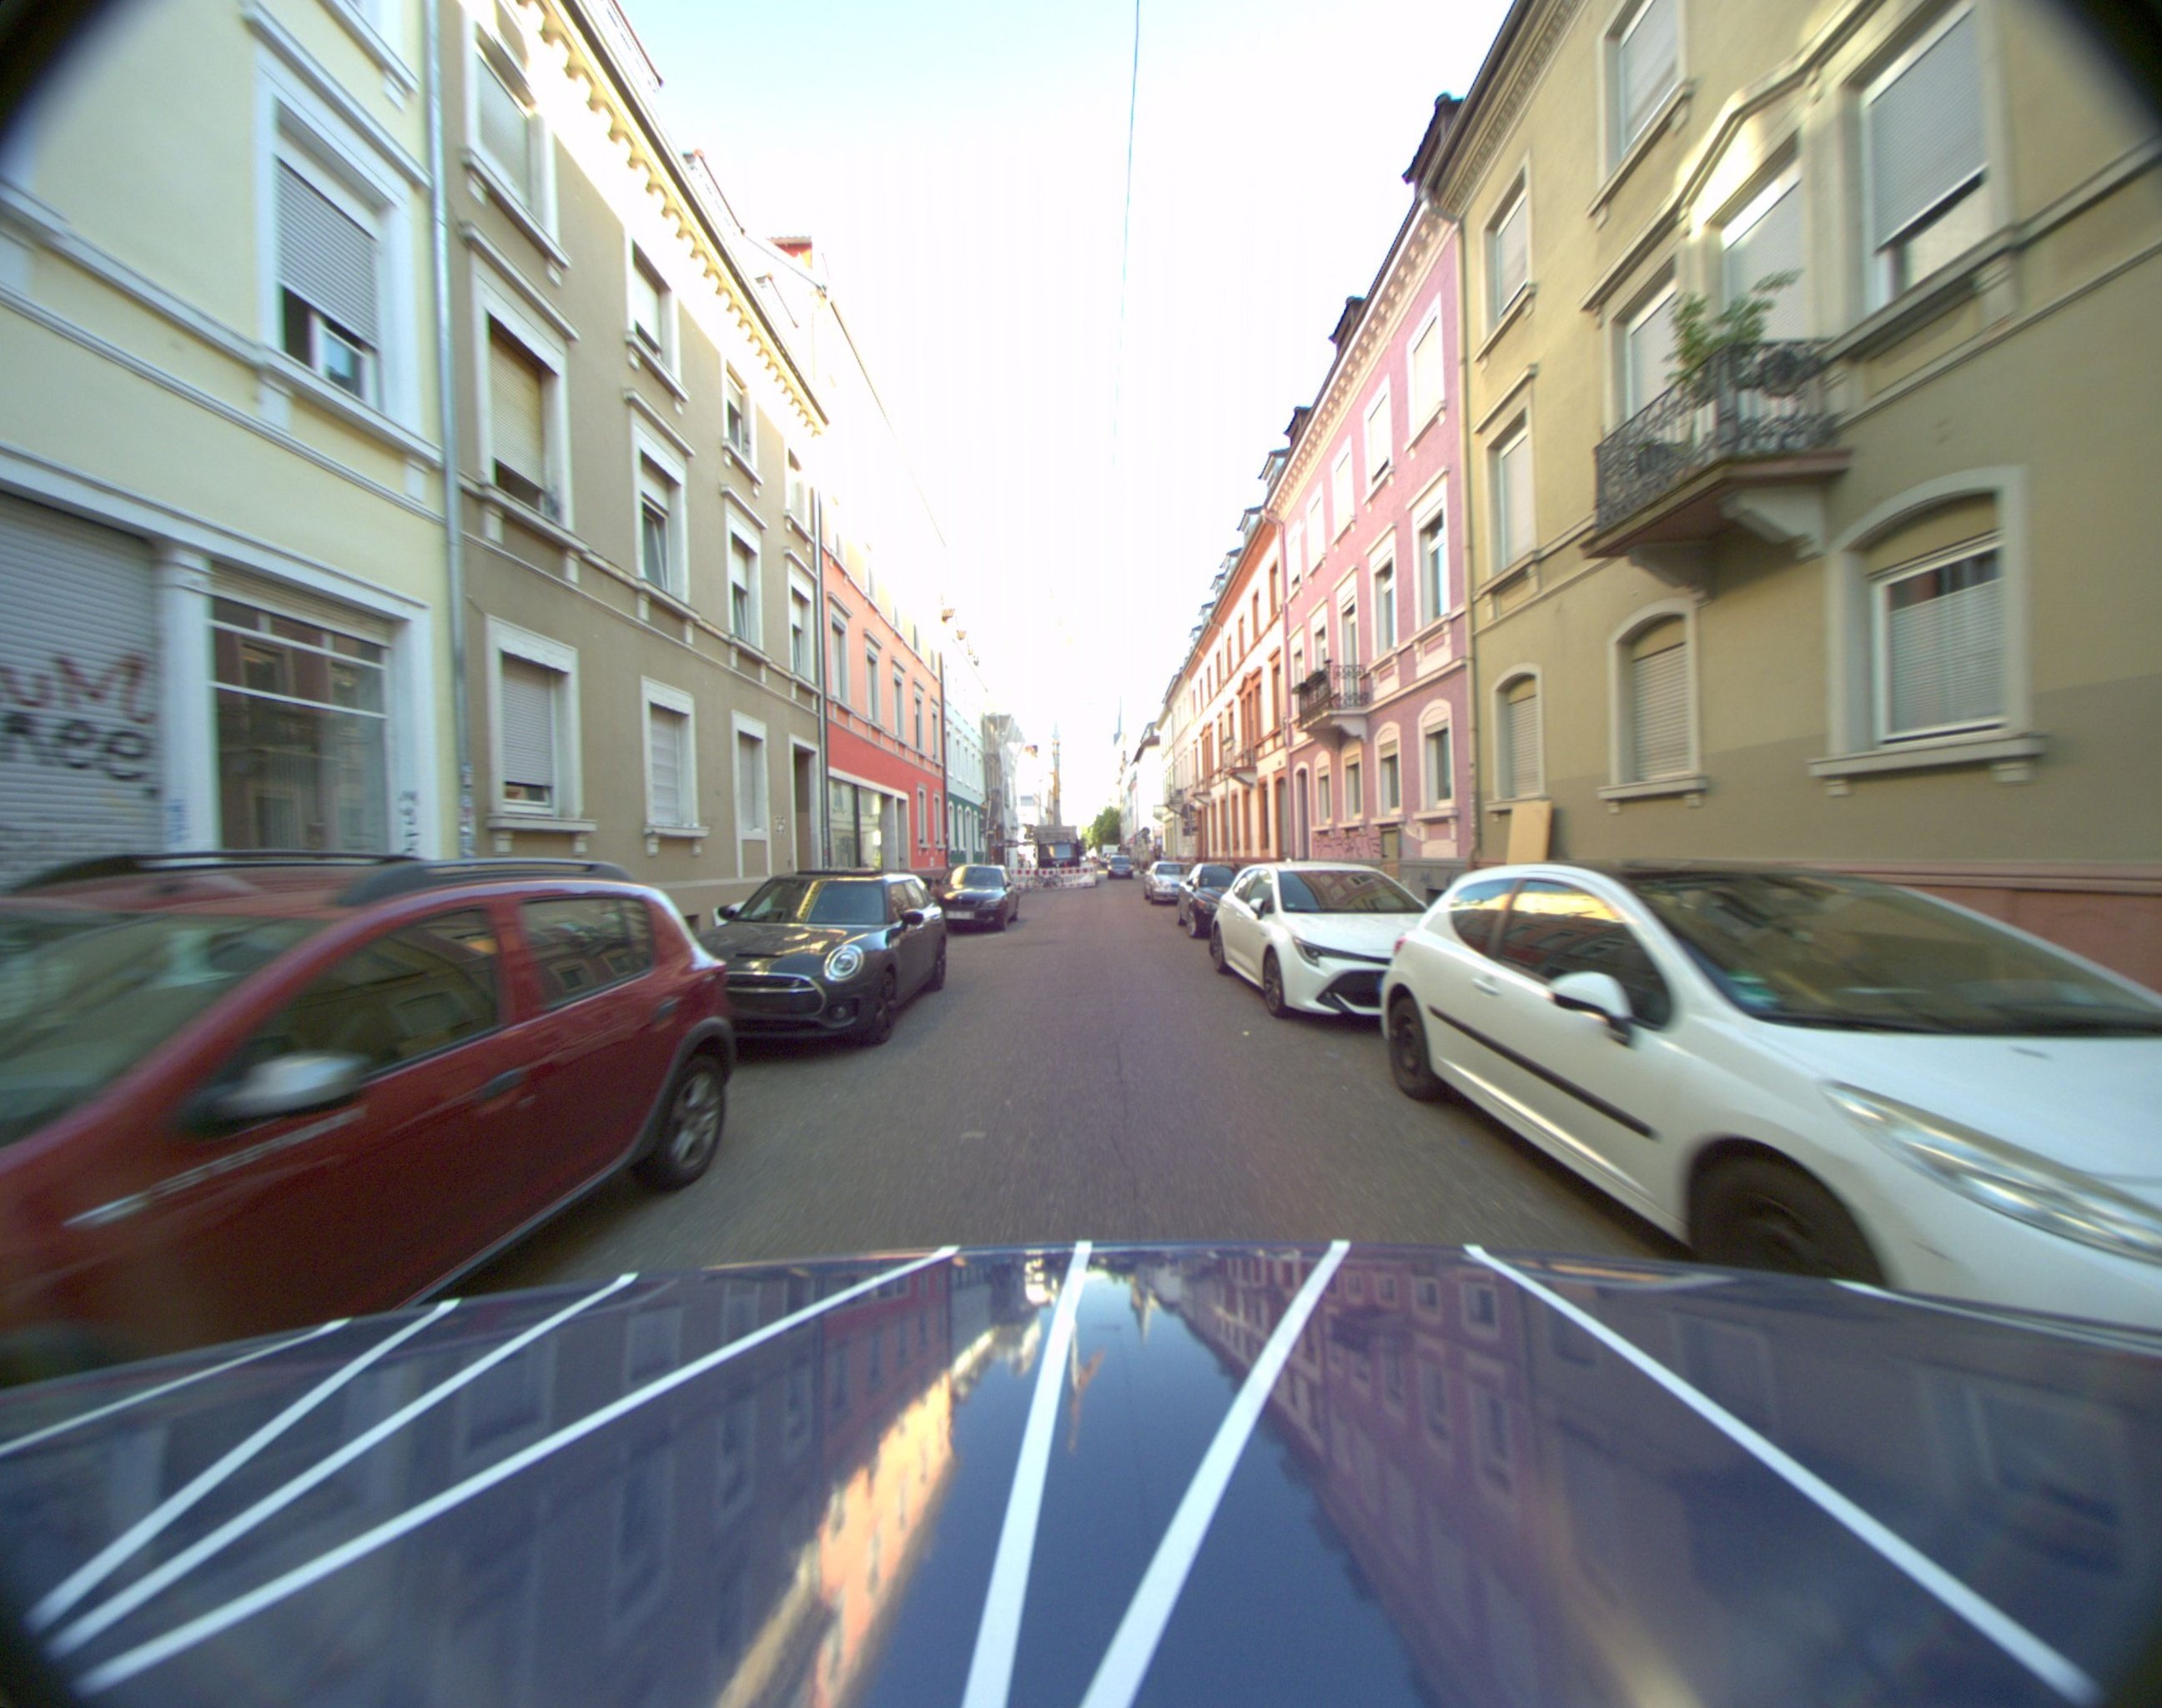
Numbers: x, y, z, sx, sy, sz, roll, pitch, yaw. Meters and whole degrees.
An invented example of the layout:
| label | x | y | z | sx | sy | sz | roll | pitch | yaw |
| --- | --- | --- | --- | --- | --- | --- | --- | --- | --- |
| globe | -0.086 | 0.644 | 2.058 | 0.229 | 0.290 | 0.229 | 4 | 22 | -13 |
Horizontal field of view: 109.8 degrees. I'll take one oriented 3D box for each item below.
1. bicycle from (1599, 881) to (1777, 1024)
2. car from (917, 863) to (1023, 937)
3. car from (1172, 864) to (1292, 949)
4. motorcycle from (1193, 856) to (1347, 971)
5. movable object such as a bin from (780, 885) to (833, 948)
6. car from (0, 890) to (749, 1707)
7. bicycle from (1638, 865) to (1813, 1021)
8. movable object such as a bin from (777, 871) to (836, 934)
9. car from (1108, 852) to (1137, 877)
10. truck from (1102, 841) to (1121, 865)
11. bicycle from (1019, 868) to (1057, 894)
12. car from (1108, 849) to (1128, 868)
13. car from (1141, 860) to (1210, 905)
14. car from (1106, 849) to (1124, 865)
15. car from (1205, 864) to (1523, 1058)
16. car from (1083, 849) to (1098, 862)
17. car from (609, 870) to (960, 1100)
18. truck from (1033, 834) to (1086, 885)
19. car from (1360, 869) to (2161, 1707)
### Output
| label | x | y | z | sx | sy | sz | roll | pitch | yaw |
| --- | --- | --- | --- | --- | --- | --- | --- | --- | --- |
| bicycle | 5.468 | 0.833 | 6.955 | 0.418 | 1.095 | 1.494 | -2 | 0 | 0 |
| car | -2.492 | 0.995 | 18.172 | 1.831 | 1.474 | 4.464 | -1 | 0 | 0 |
| car | 2.832 | 0.933 | 15.157 | 1.730 | 1.383 | 4.303 | 0 | 0 | 3 |
| motorcycle | 2.742 | 0.819 | 11.059 | 1.969 | 1.470 | 0.822 | -3 | 1 | -19 |
| movable object such as a bin | -4.997 | 1.132 | 13.862 | 0.717 | 1.102 | 0.642 | 1 | 0 | 1 |
| car | -2.763 | 0.989 | 2.166 | 1.794 | 1.542 | 4.000 | -1 | 0 | 1 |
| bicycle | 5.854 | 0.742 | 7.006 | 0.319 | 1.253 | 1.494 | -2 | 0 | 0 |
| movable object such as a bin | -5.010 | 0.873 | 13.915 | 0.893 | 1.102 | 0.641 | 1 | 0 | -10 |
| car | 2.847 | 0.716 | 52.868 | 1.832 | 1.650 | 4.213 | -1 | 0 | 1 |
| truck | 4.317 | -0.186 | 109.237 | 2.524 | 3.271 | 6.643 | -1 | 0 | 2 |
| bicycle | -2.078 | 1.286 | 36.699 | 1.713 | 1.130 | 0.470 | -3 | 1 | -10 |
| car | 3.900 | 0.472 | 80.598 | 1.998 | 2.002 | 4.258 | -1 | 0 | 1 |
| car | 3.074 | 0.896 | 25.529 | 1.771 | 1.335 | 4.380 | 0 | 0 | 0 |
| car | 4.319 | 0.402 | 95.792 | 1.998 | 1.820 | 4.379 | -3 | 0 | 0 |
| car | 2.579 | 0.873 | 8.092 | 1.792 | 1.454 | 4.200 | -1 | 0 | 0 |
| car | 1.360 | 0.234 | 107.567 | 1.998 | 1.749 | 4.255 | -3 | 0 | 0 |
| car | -2.521 | 1.013 | 7.761 | 1.766 | 1.513 | 4.380 | -2 | 0 | 1 |
| truck | -1.205 | 0.322 | 47.102 | 2.819 | 2.735 | 7.678 | -3 | 0 | 0 |
| car | 2.783 | 0.843 | 3.127 | 1.794 | 1.443 | 4.000 | -1 | 0 | 0 |
